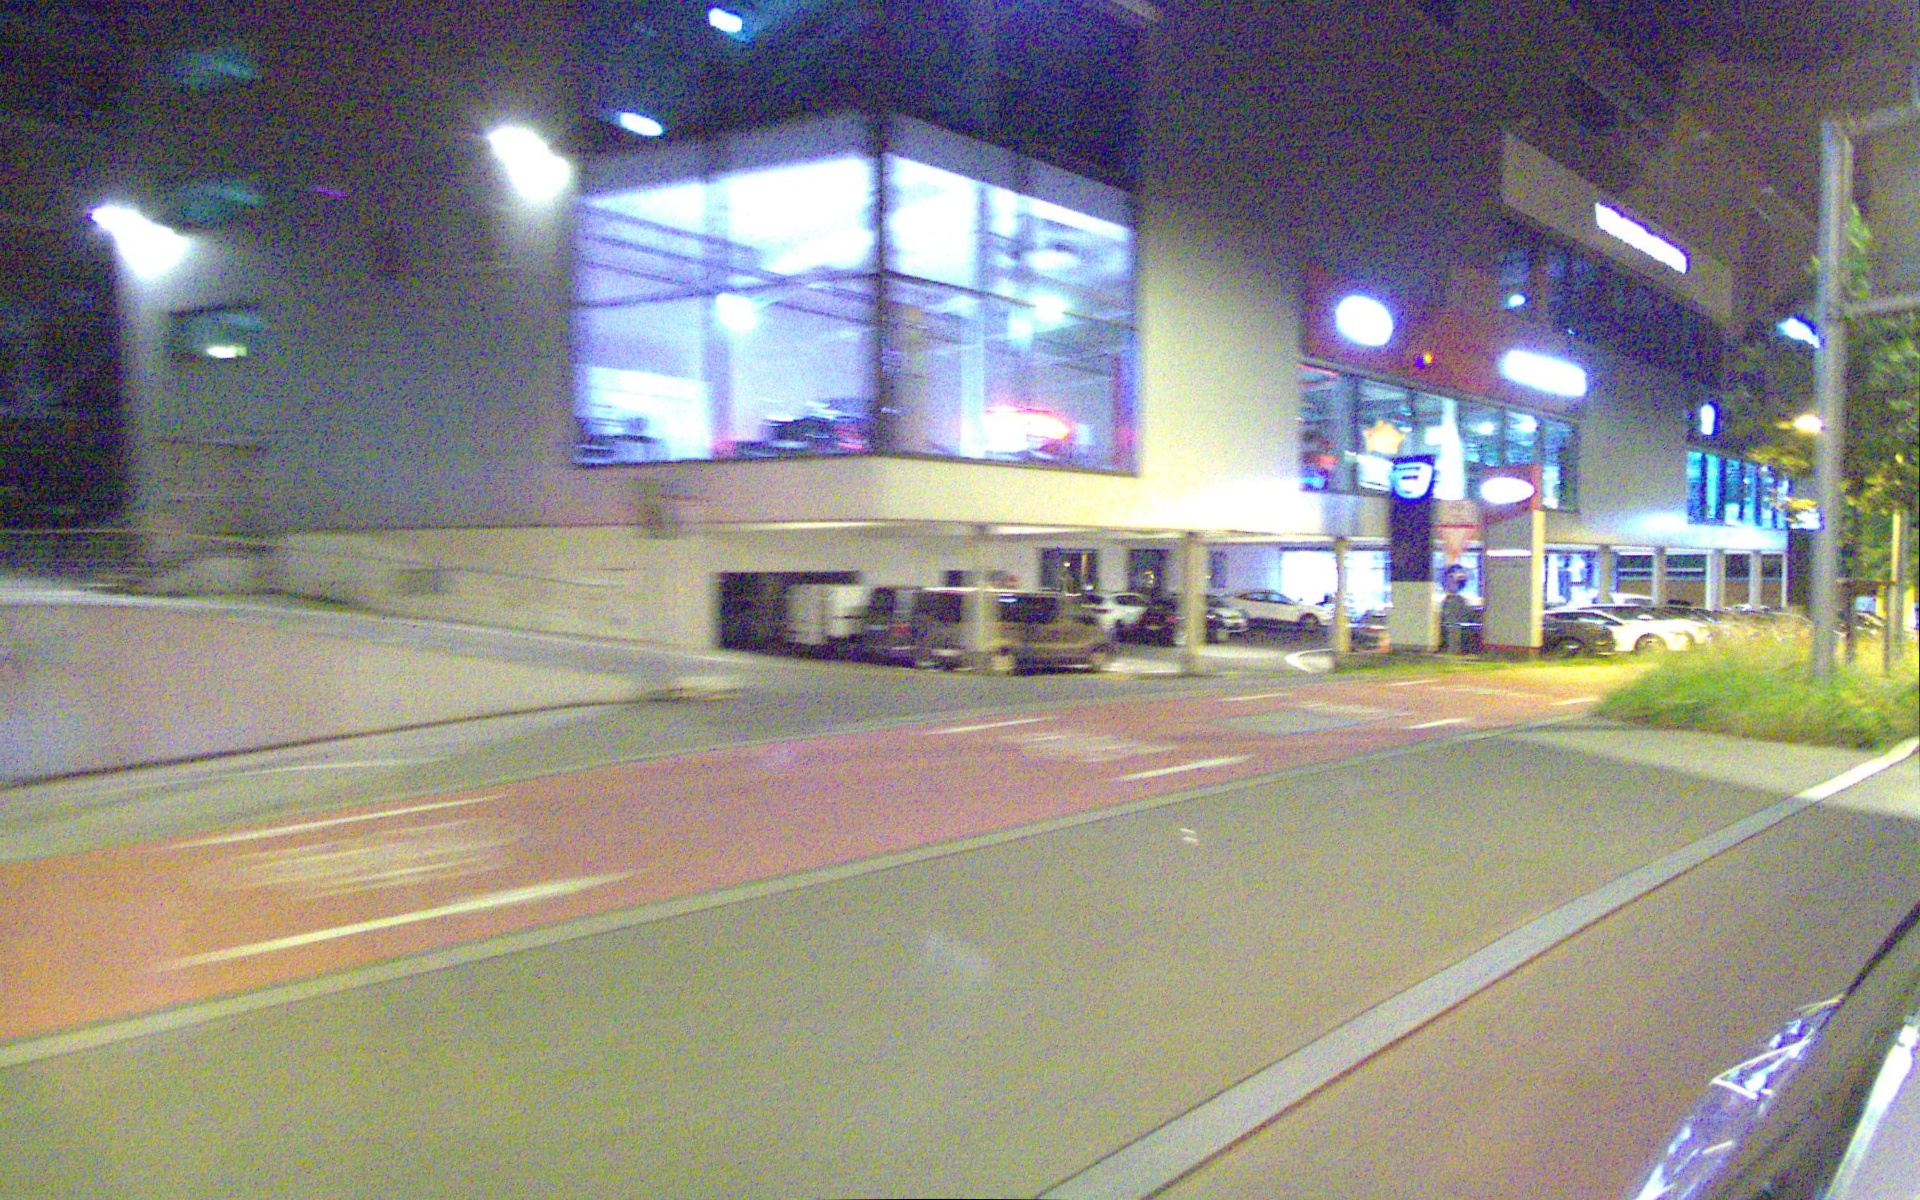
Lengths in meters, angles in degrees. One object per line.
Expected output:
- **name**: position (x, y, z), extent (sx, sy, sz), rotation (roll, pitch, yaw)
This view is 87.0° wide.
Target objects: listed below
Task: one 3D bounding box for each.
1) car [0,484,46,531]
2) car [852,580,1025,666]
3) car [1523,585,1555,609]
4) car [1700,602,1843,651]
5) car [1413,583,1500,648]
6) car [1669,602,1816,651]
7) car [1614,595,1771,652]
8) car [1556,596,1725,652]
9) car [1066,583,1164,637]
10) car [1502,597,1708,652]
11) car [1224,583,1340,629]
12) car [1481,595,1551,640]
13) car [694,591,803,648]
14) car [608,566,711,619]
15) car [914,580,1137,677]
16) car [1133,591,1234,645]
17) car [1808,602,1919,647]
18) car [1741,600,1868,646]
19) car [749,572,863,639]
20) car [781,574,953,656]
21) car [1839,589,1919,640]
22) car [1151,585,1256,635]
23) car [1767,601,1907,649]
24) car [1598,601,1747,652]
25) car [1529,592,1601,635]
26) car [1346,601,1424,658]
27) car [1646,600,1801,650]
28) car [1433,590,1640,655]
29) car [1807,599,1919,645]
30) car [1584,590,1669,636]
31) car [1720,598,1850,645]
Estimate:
- **car**: position (-40.127, -3.887, 42.883), extent (3.705, 1.704, 1.823), rotation (1, 0, 44)
- **car**: position (-0.470, 0.543, 25.830), extent (4.336, 2.019, 1.812), rotation (1, 0, -44)
- **car**: position (42.095, -0.209, 73.564), extent (1.983, 1.682, 4.618), rotation (1, 1, 30)
- **car**: position (30.171, 0.943, 37.798), extent (4.016, 1.390, 1.801), rotation (7, 3, 37)
- **car**: position (15.956, 0.433, 32.710), extent (1.564, 1.817, 3.858), rotation (1, 3, 12)
- **car**: position (27.911, 0.910, 36.172), extent (3.988, 1.397, 1.781), rotation (5, 2, 43)
- **car**: position (23.716, 0.726, 32.955), extent (3.974, 1.488, 1.811), rotation (4, 2, 34)
- **car**: position (19.754, 0.673, 29.503), extent (3.975, 1.442, 1.884), rotation (2, -1, 36)
- **car**: position (5.355, 0.300, 34.815), extent (3.245, 1.661, 1.635), rotation (-2, 4, -43)
- **car**: position (17.601, 0.654, 27.924), extent (4.602, 1.280, 1.928), rotation (2, 0, 29)
- **car**: position (12.671, 0.221, 39.995), extent (4.261, 1.675, 1.649), rotation (1, 0, 16)
- **car**: position (19.789, 0.597, 36.095), extent (1.301, 1.505, 3.062), rotation (1, 0, 12)
- **car**: position (-6.406, 0.537, 30.430), extent (1.589, 1.467, 3.729), rotation (-1, 3, -41)
- **car**: position (-12.148, -0.313, 40.768), extent (2.040, 2.039, 4.586), rotation (1, 0, -45)
- **car**: position (1.671, 0.610, 23.855), extent (5.533, 2.039, 1.996), rotation (1, 0, -43)
- **car**: position (7.409, 0.537, 33.403), extent (3.360, 1.531, 1.635), rotation (-3, 4, -43)
- **car**: position (41.159, 1.116, 45.823), extent (4.082, 1.587, 1.826), rotation (8, 4, 43)
- **car**: position (34.107, 0.905, 40.989), extent (3.798, 1.471, 1.693), rotation (6, 3, 40)
- **car**: position (-5.035, 0.150, 32.854), extent (3.704, 2.039, 1.721), rotation (1, 0, 43)
- **car**: position (-2.443, 0.379, 27.307), extent (4.336, 2.019, 1.953), rotation (1, 0, -44)
- **car**: position (56.073, 0.986, 59.651), extent (6.007, 2.559, 2.253), rotation (8, 4, 37)
- **car**: position (8.948, 0.308, 37.346), extent (1.716, 1.604, 3.491), rotation (-1, 3, -36)
- **car**: position (38.299, 1.044, 44.278), extent (4.465, 1.565, 1.742), rotation (8, 6, 44)
- **car**: position (21.838, 0.778, 31.186), extent (3.582, 1.451, 1.662), rotation (1, 0, 30)
- **car**: position (23.045, 0.489, 38.673), extent (1.605, 1.483, 3.770), rotation (2, 0, 19)
- **car**: position (12.617, 0.814, 30.258), extent (1.755, 1.426, 4.314), rotation (1, 2, 18)
- **car**: position (25.919, 0.828, 34.530), extent (3.969, 1.409, 1.806), rotation (4, 1, 31)
- **car**: position (13.856, 0.484, 24.431), extent (4.116, 1.438, 1.850), rotation (1, 0, 40)
- **car**: position (43.168, 1.051, 47.931), extent (4.463, 1.707, 1.969), rotation (8, 4, 43)
- **car**: position (30.037, 0.534, 45.763), extent (1.809, 1.942, 4.803), rotation (1, 0, 16)
- **car**: position (32.138, 0.819, 39.515), extent (3.765, 1.395, 1.692), rotation (7, 4, 40)
